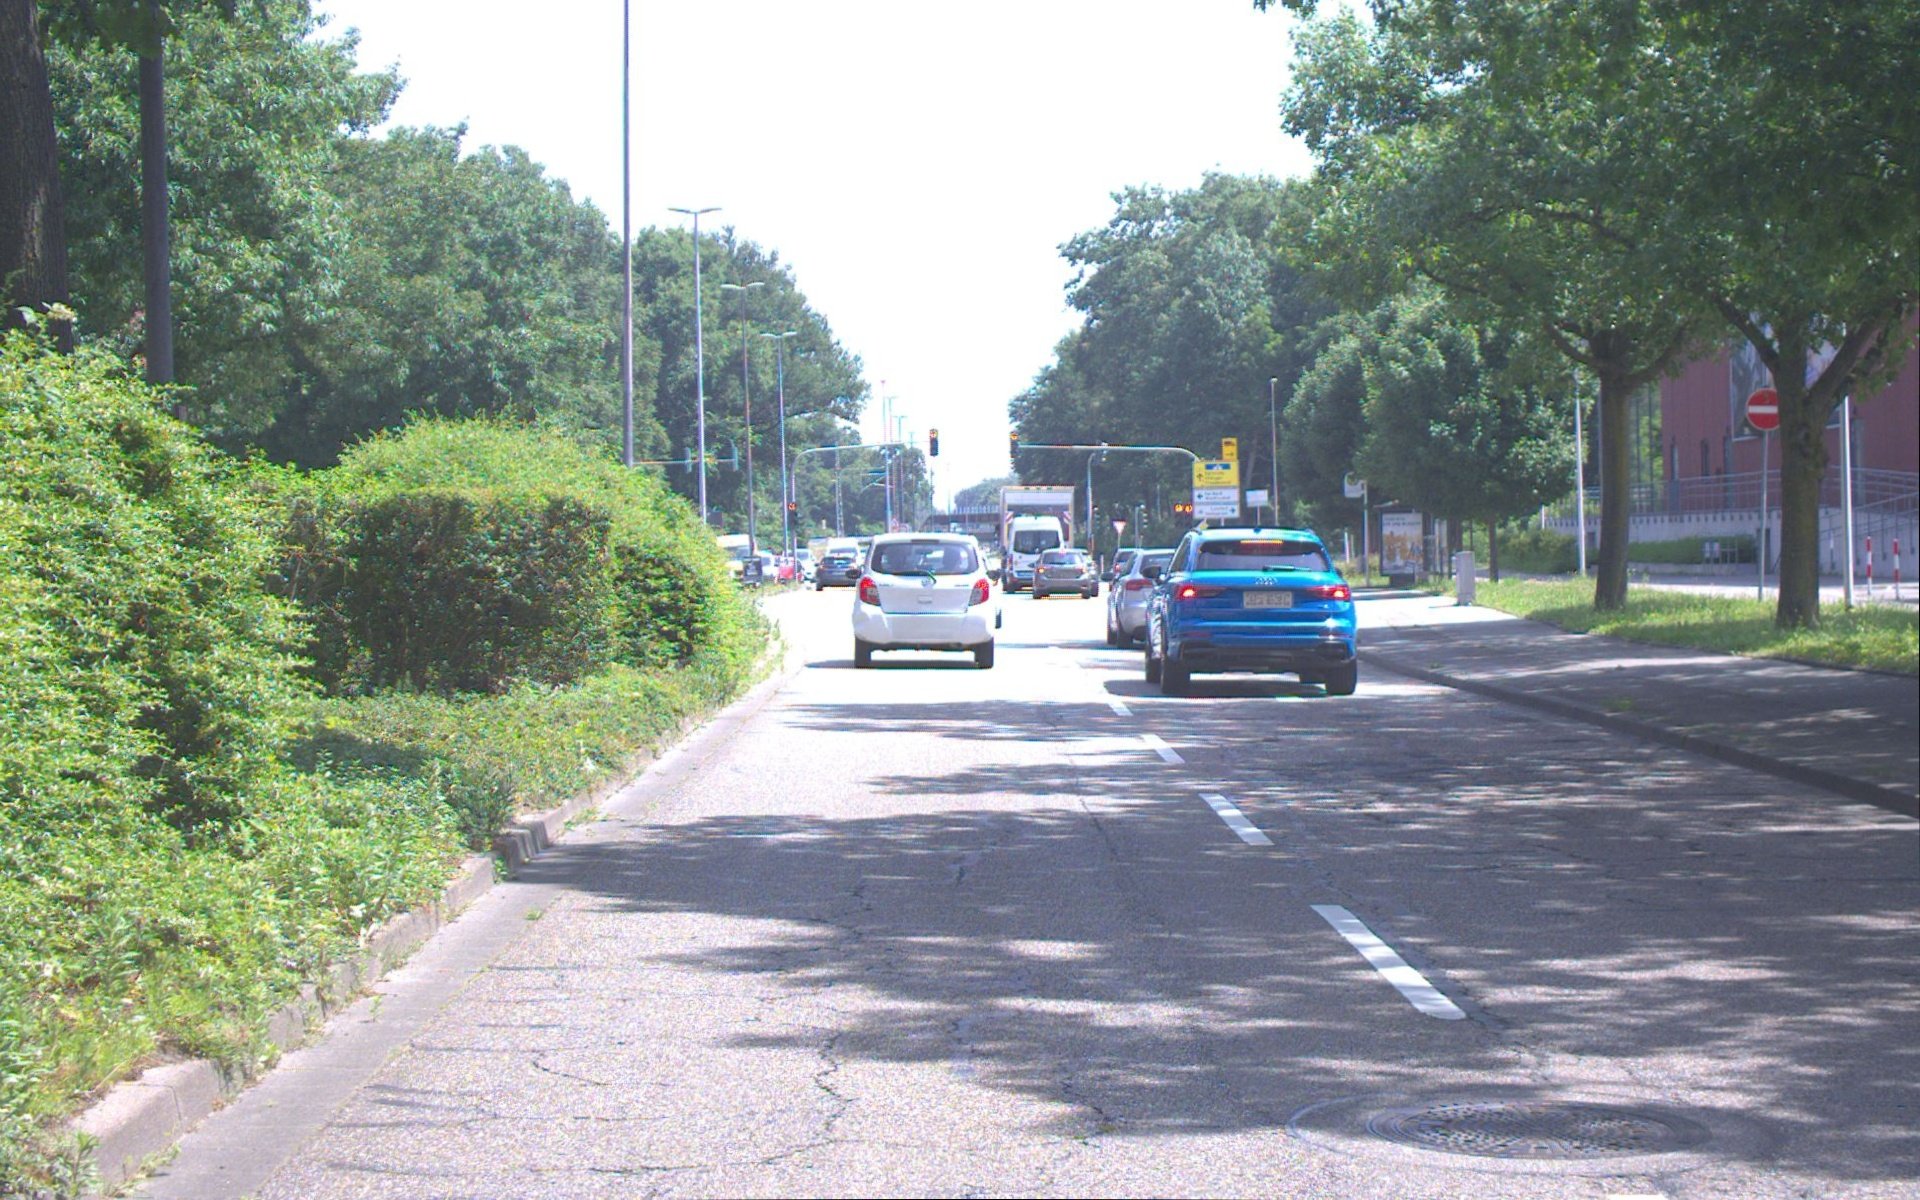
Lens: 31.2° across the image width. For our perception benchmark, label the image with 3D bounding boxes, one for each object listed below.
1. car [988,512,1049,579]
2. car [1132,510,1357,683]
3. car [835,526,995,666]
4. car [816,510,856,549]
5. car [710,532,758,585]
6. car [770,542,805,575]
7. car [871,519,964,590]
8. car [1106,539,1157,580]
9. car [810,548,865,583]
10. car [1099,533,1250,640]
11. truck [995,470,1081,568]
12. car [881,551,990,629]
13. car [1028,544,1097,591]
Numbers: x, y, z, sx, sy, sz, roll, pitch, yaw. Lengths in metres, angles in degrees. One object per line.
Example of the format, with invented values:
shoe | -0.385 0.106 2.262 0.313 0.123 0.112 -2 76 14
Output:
car | 2.021 -1.904 119.494 1.993 2.248 4.000 -1 1 0
car | 2.732 -0.045 33.864 1.808 1.587 4.349 0 0 -1
car | -0.558 -0.056 39.882 1.638 1.547 3.325 -1 0 -4
car | -6.564 -3.754 182.439 1.993 2.007 4.000 -2 1 0
car | -9.921 -1.806 151.133 1.779 2.274 4.752 0 0 0
car | -7.059 -1.710 140.860 1.368 1.304 2.694 -2 1 -3
car | -0.966 -0.987 75.620 1.794 1.518 4.001 0 0 -4
car | 6.348 -1.524 127.564 1.633 1.459 4.000 -1 1 0
car | -4.760 -1.363 134.468 1.993 1.284 4.000 -1 1 0
car | 3.023 -0.198 49.228 1.865 1.468 4.000 0 0 -1
truck | 2.886 -3.030 129.820 2.932 3.490 9.158 -1 1 0
car | -0.420 -0.184 61.794 1.885 1.349 4.000 0 0 0
car | 3.061 -0.983 103.705 1.865 1.305 4.000 -2 1 -1
